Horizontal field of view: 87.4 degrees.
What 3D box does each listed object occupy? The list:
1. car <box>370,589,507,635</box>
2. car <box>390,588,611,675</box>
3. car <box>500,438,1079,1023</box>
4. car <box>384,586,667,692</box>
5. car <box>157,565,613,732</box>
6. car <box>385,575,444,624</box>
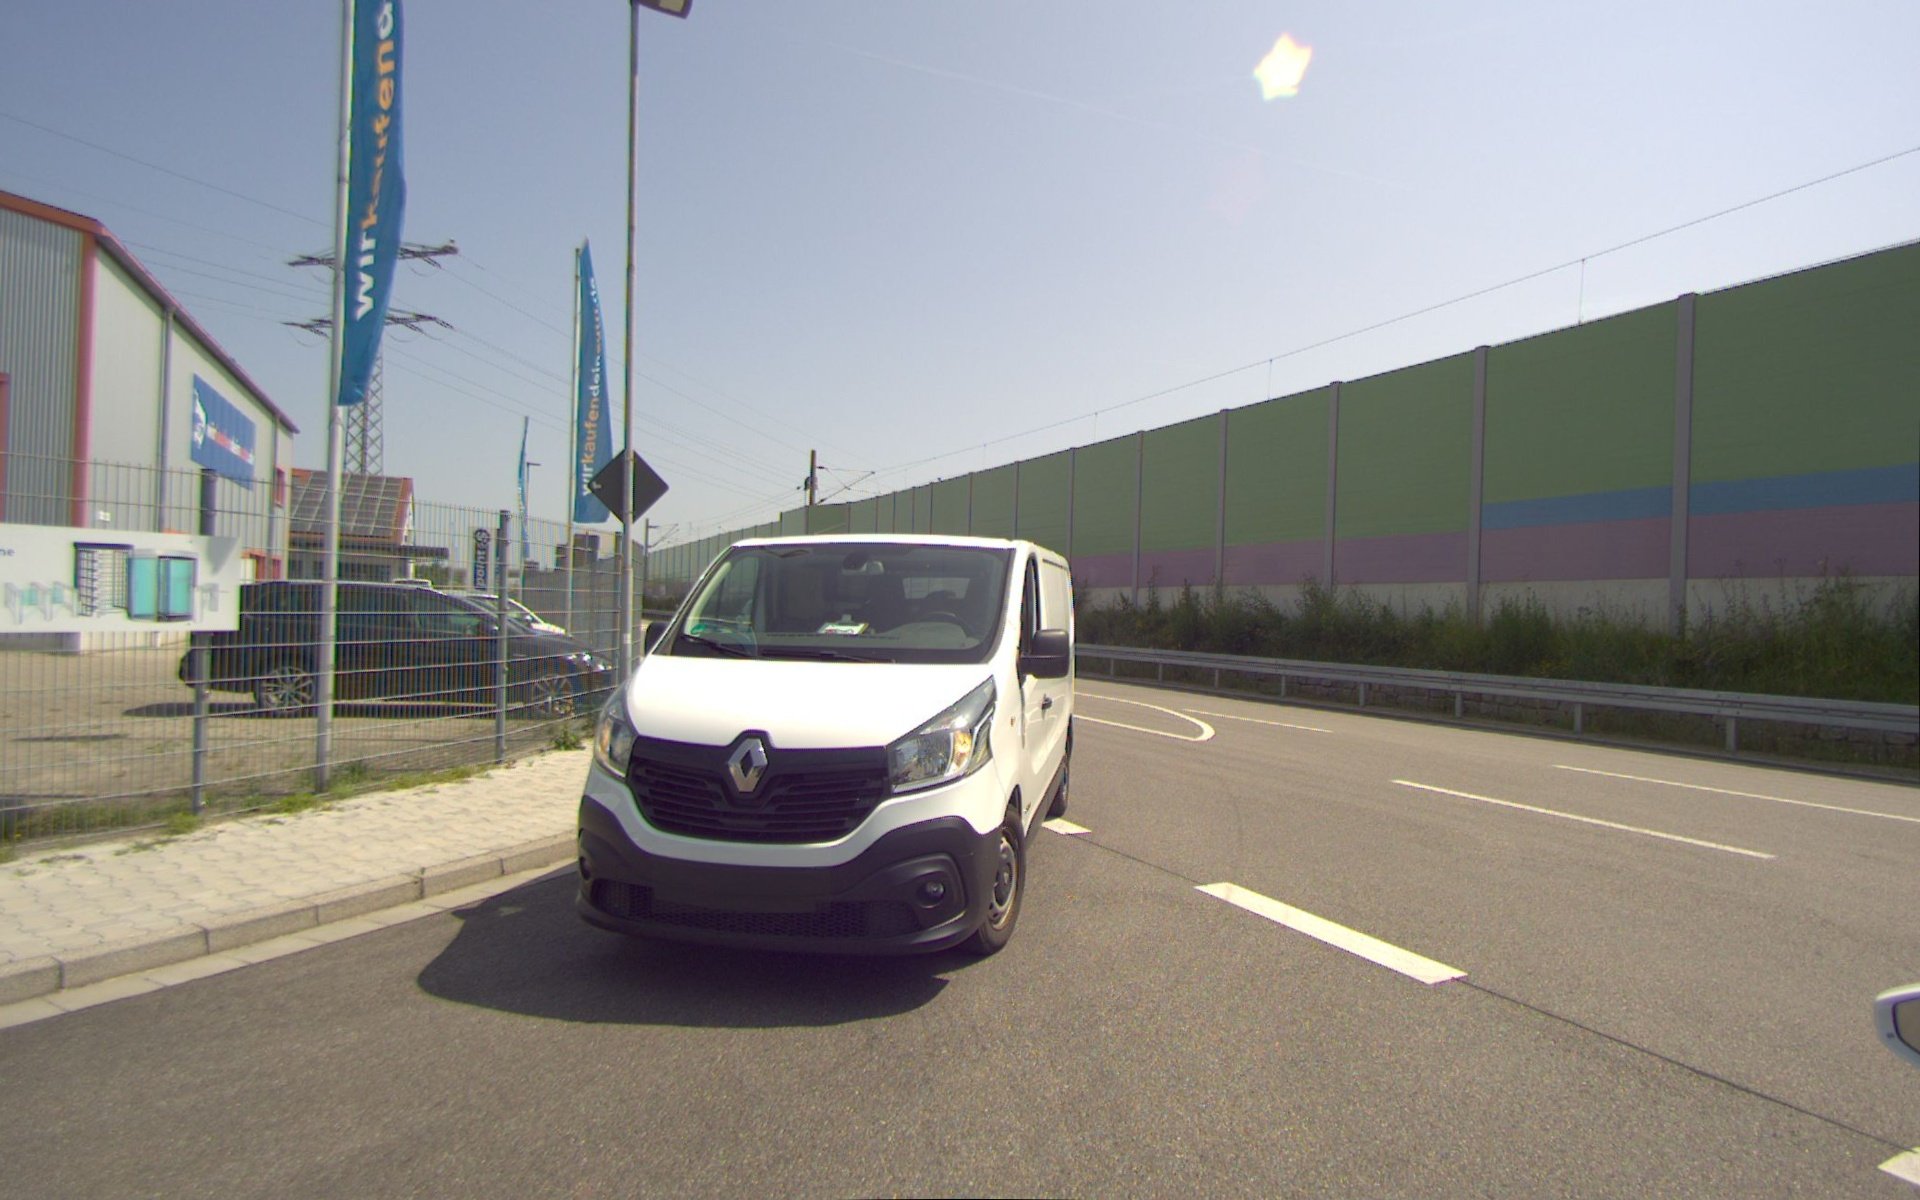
[{"bbox_3d":[-18.739,0.455,36.270,1.712,1.513,4.088,2,-1,28],"label":"car"},{"bbox_3d":[-8.668,0.599,19.150,1.565,1.484,3.473,2,-1,38],"label":"car"},{"bbox_3d":[-0.406,0.509,6.131,1.968,2.088,4.816,0,-1,10],"label":"car"},{"bbox_3d":[-7.015,0.610,16.337,3.959,1.522,1.758,2,0,-34],"label":"car"},{"bbox_3d":[-6.005,0.489,10.899,3.953,1.522,1.761,2,0,-30],"label":"car"},{"bbox_3d":[-24.309,0.000,44.903,1.973,2.040,4.651,2,-1,-25],"label":"car"}]
